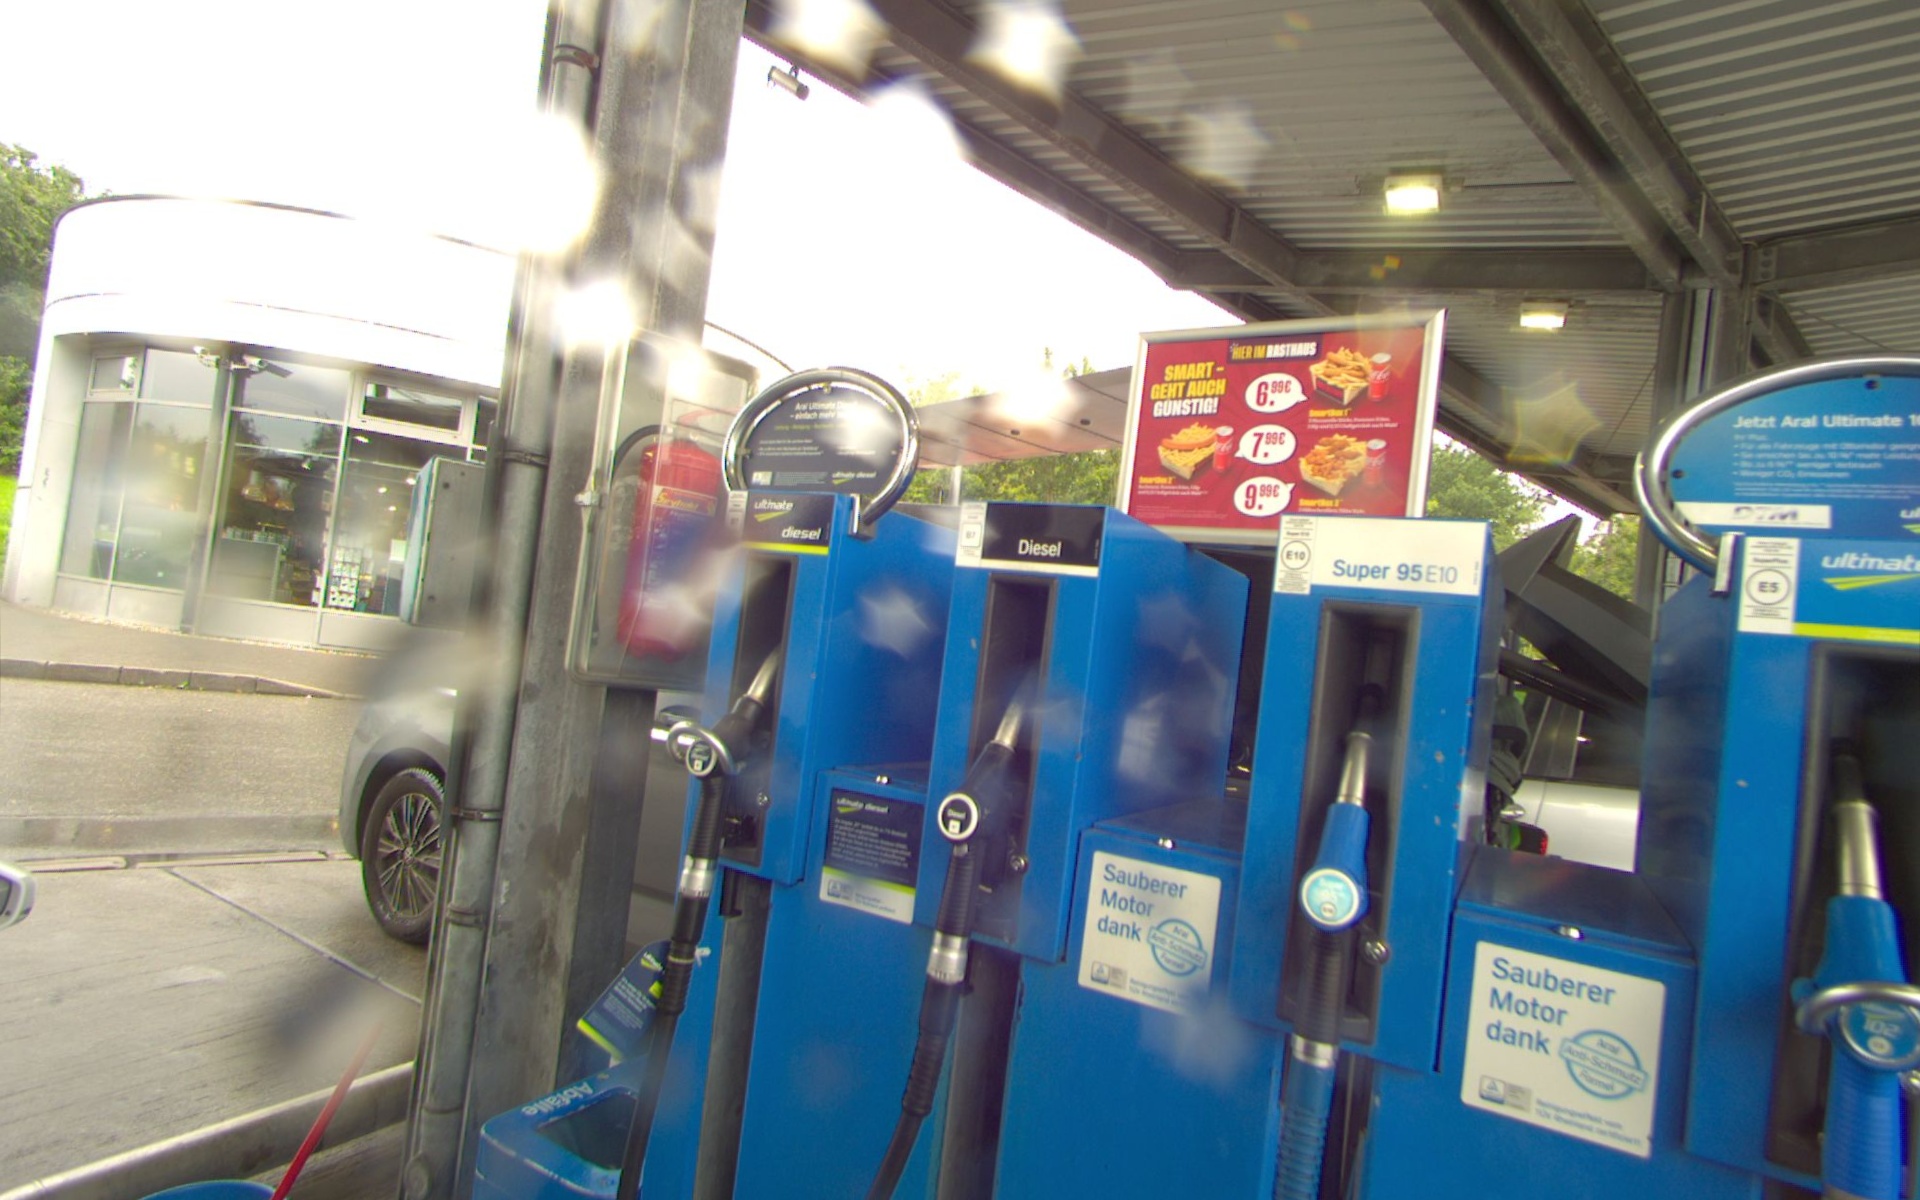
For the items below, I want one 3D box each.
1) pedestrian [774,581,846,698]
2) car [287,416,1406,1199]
[{"bbox_3d":[-2.429,0.627,16.271,0.786,1.755,0.835,7,0,-23],"label":"pedestrian"},{"bbox_3d":[-0.592,0.489,3.985,3.934,1.971,1.819,7,-1,32],"label":"car"}]
